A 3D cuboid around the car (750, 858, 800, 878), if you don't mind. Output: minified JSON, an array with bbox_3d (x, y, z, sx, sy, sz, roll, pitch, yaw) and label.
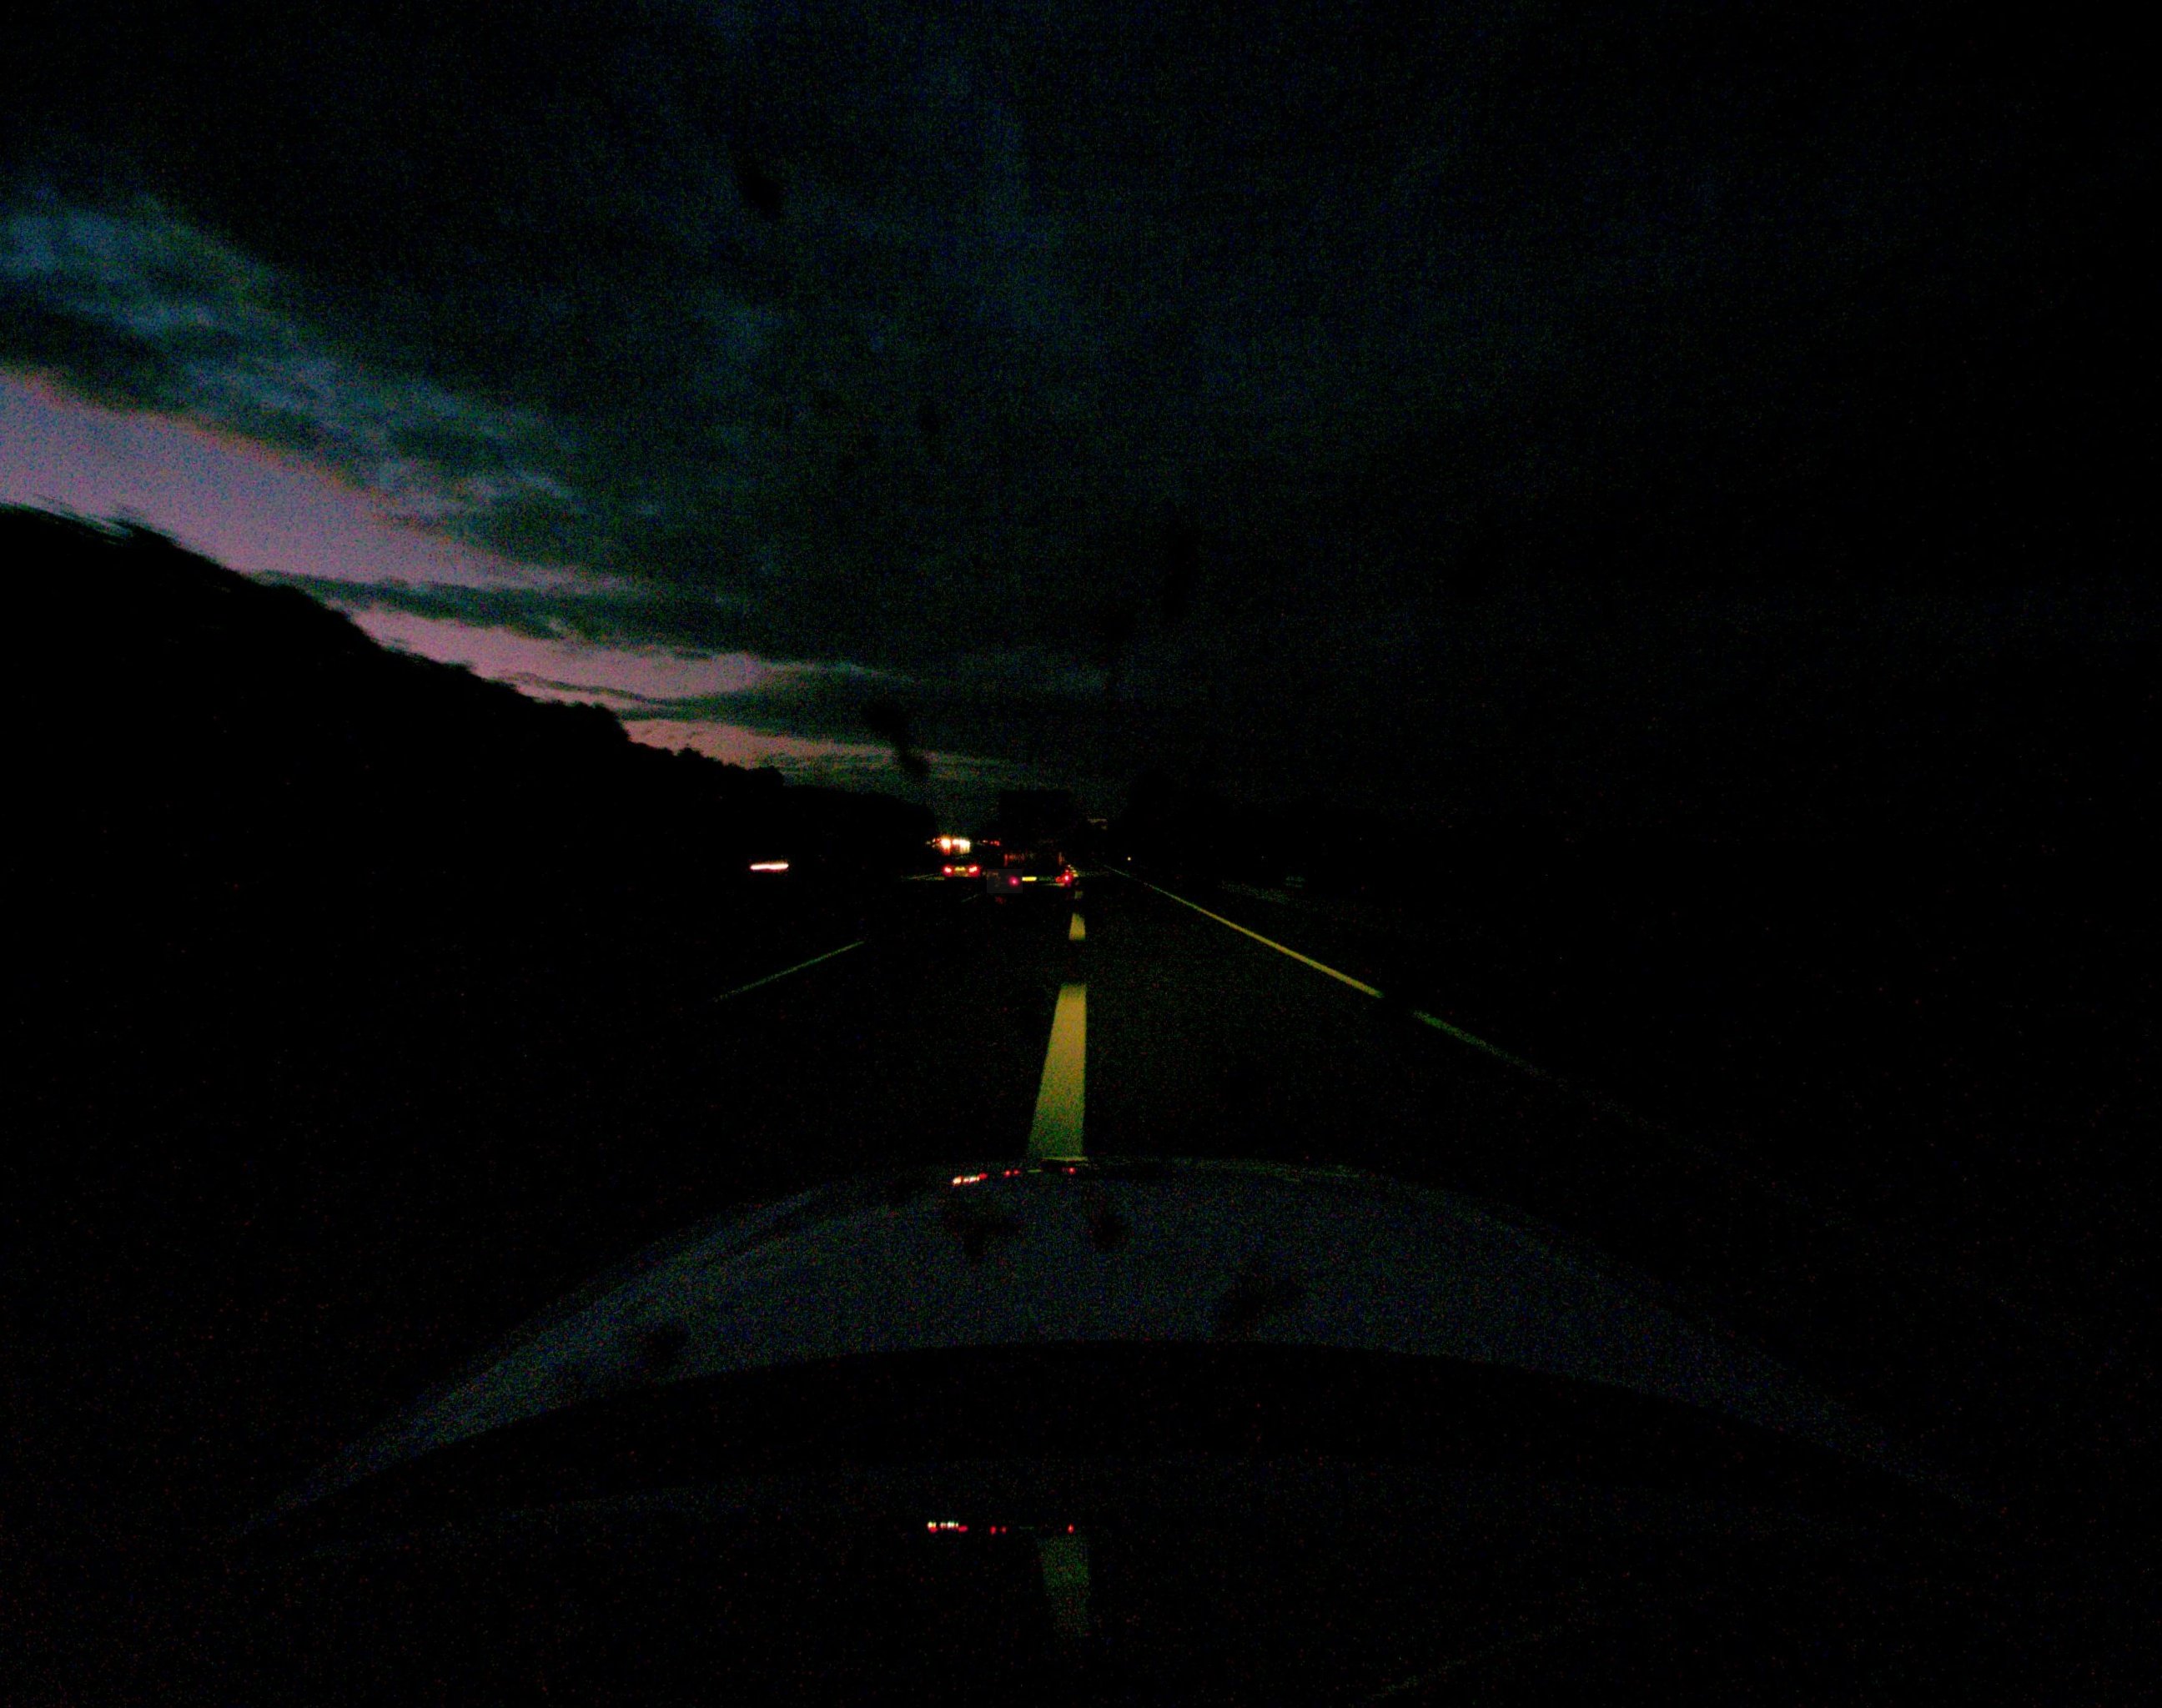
[{"bbox_3d":[-22.211,0.992,59.272,1.987,1.419,4.152,0,0,0],"label":"car"}]

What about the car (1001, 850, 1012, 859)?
[{"bbox_3d":[-14.416,0.056,157.595,1.758,1.575,4.571,0,-2,-3],"label":"car"}]

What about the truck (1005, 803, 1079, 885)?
[{"bbox_3d":[-2.000,-0.487,44.408,3.538,4.091,6.152,-1,0,1],"label":"truck"}]

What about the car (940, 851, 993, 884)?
[{"bbox_3d":[-6.002,0.746,43.329,1.899,1.614,4.806,0,-2,2],"label":"car"}]

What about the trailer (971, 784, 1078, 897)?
[{"bbox_3d":[-2.124,-0.489,37.910,3.537,4.116,15.066,-1,0,1],"label":"trailer"}]
